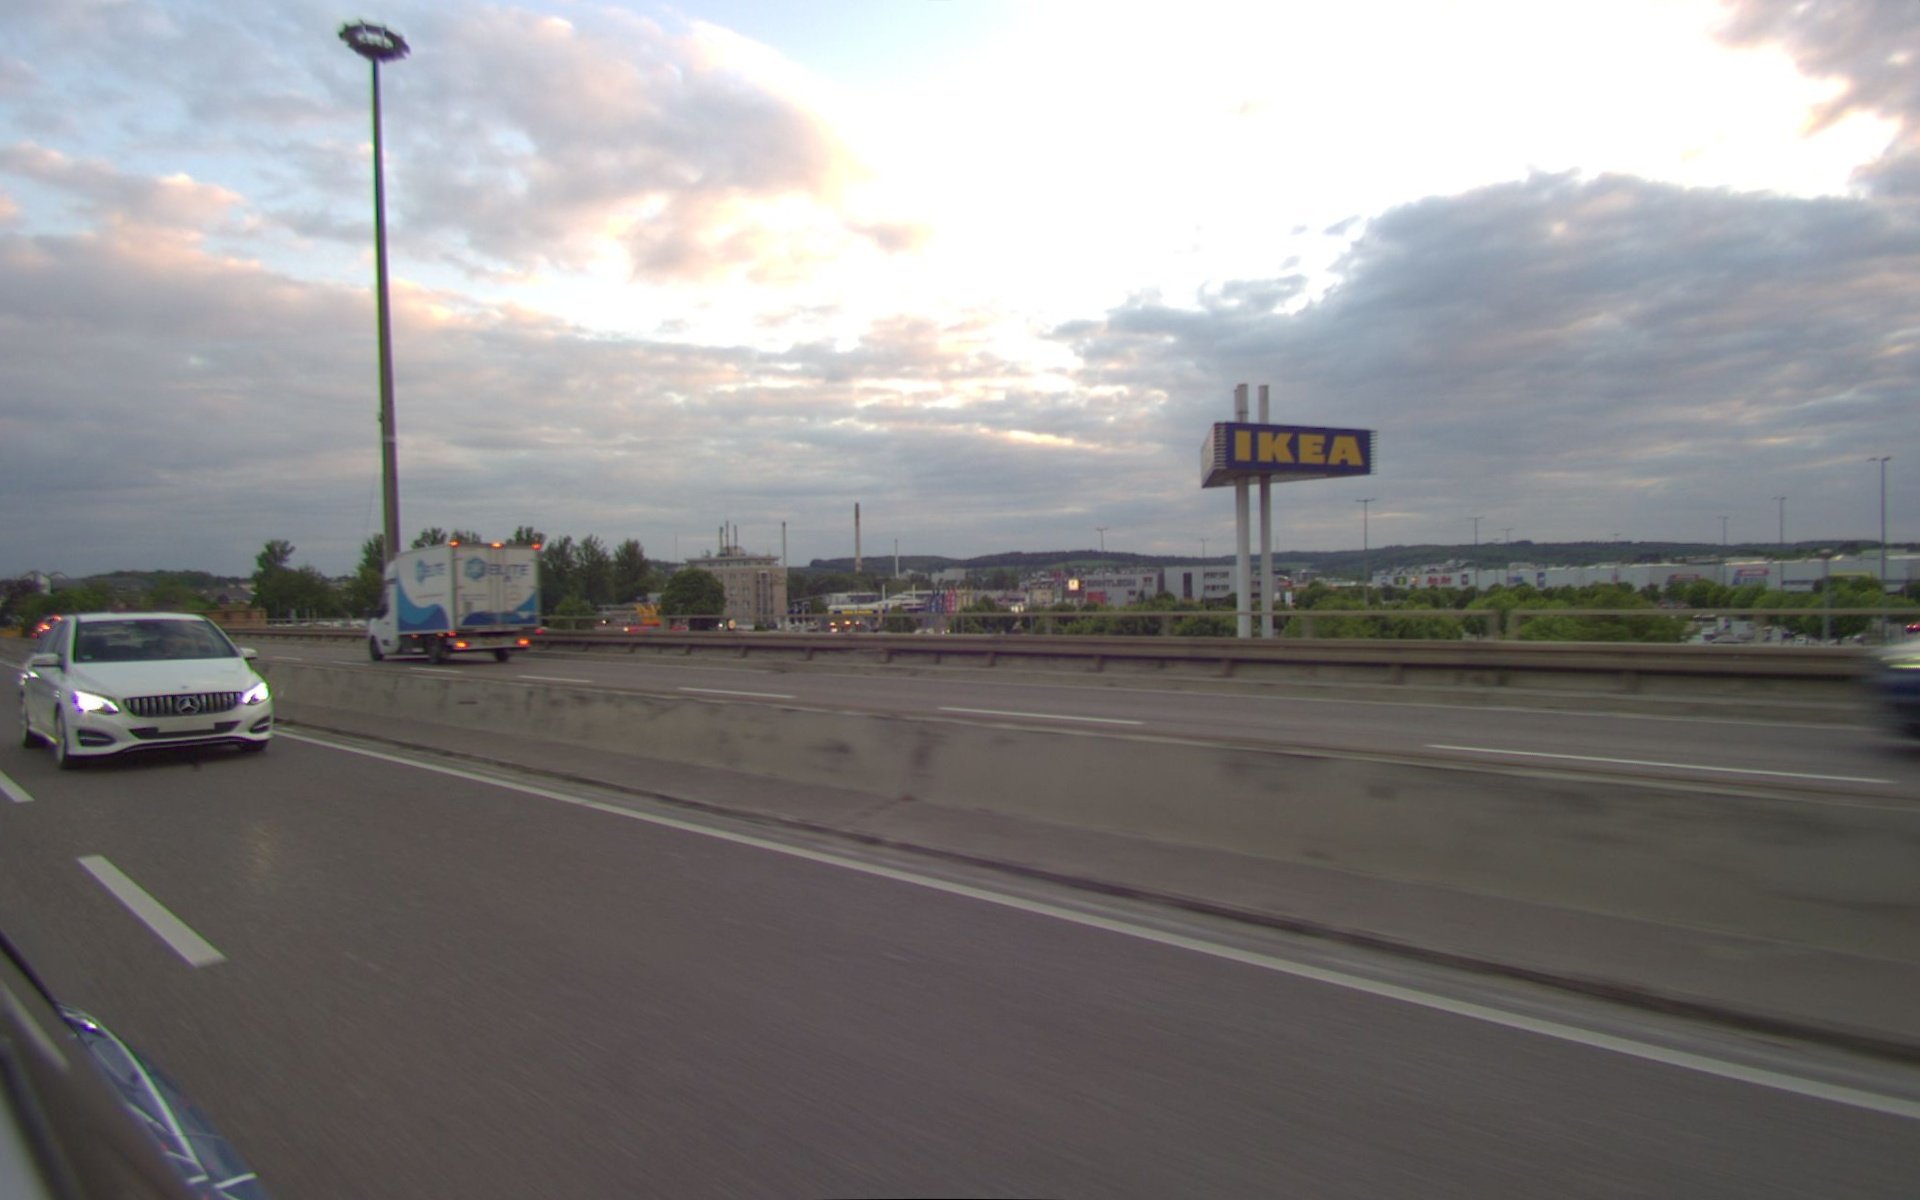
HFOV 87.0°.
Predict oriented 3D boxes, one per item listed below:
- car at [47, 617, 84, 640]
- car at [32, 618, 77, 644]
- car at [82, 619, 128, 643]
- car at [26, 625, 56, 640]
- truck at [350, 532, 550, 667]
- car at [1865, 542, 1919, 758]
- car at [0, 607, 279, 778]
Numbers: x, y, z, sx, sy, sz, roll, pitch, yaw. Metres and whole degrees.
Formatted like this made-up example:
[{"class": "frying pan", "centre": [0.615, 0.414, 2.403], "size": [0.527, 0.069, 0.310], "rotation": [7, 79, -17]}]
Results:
[{"class": "car", "centre": [-79.989, 2.530, 90.444], "size": [5.458, 1.915, 1.881], "rotation": [-1, -1, 42]}, {"class": "car", "centre": [-53.816, 1.827, 60.123], "size": [3.835, 1.452, 1.611], "rotation": [-3, -1, 42]}, {"class": "car", "centre": [-57.282, 2.044, 67.771], "size": [4.816, 1.514, 1.811], "rotation": [-1, -1, 43]}, {"class": "car", "centre": [-96.922, 3.451, 106.677], "size": [4.899, 1.485, 1.809], "rotation": [-2, -1, 41]}, {"class": "truck", "centre": [-14.442, 0.039, 28.331], "size": [7.445, 3.321, 2.507], "rotation": [-1, 0, 42]}, {"class": "car", "centre": [9.363, 0.337, 7.037], "size": [4.437, 1.618, 1.957], "rotation": [-1, 0, 39]}, {"class": "car", "centre": [-9.476, 0.941, 11.524], "size": [4.781, 1.549, 1.673], "rotation": [-3, -1, 41]}]
